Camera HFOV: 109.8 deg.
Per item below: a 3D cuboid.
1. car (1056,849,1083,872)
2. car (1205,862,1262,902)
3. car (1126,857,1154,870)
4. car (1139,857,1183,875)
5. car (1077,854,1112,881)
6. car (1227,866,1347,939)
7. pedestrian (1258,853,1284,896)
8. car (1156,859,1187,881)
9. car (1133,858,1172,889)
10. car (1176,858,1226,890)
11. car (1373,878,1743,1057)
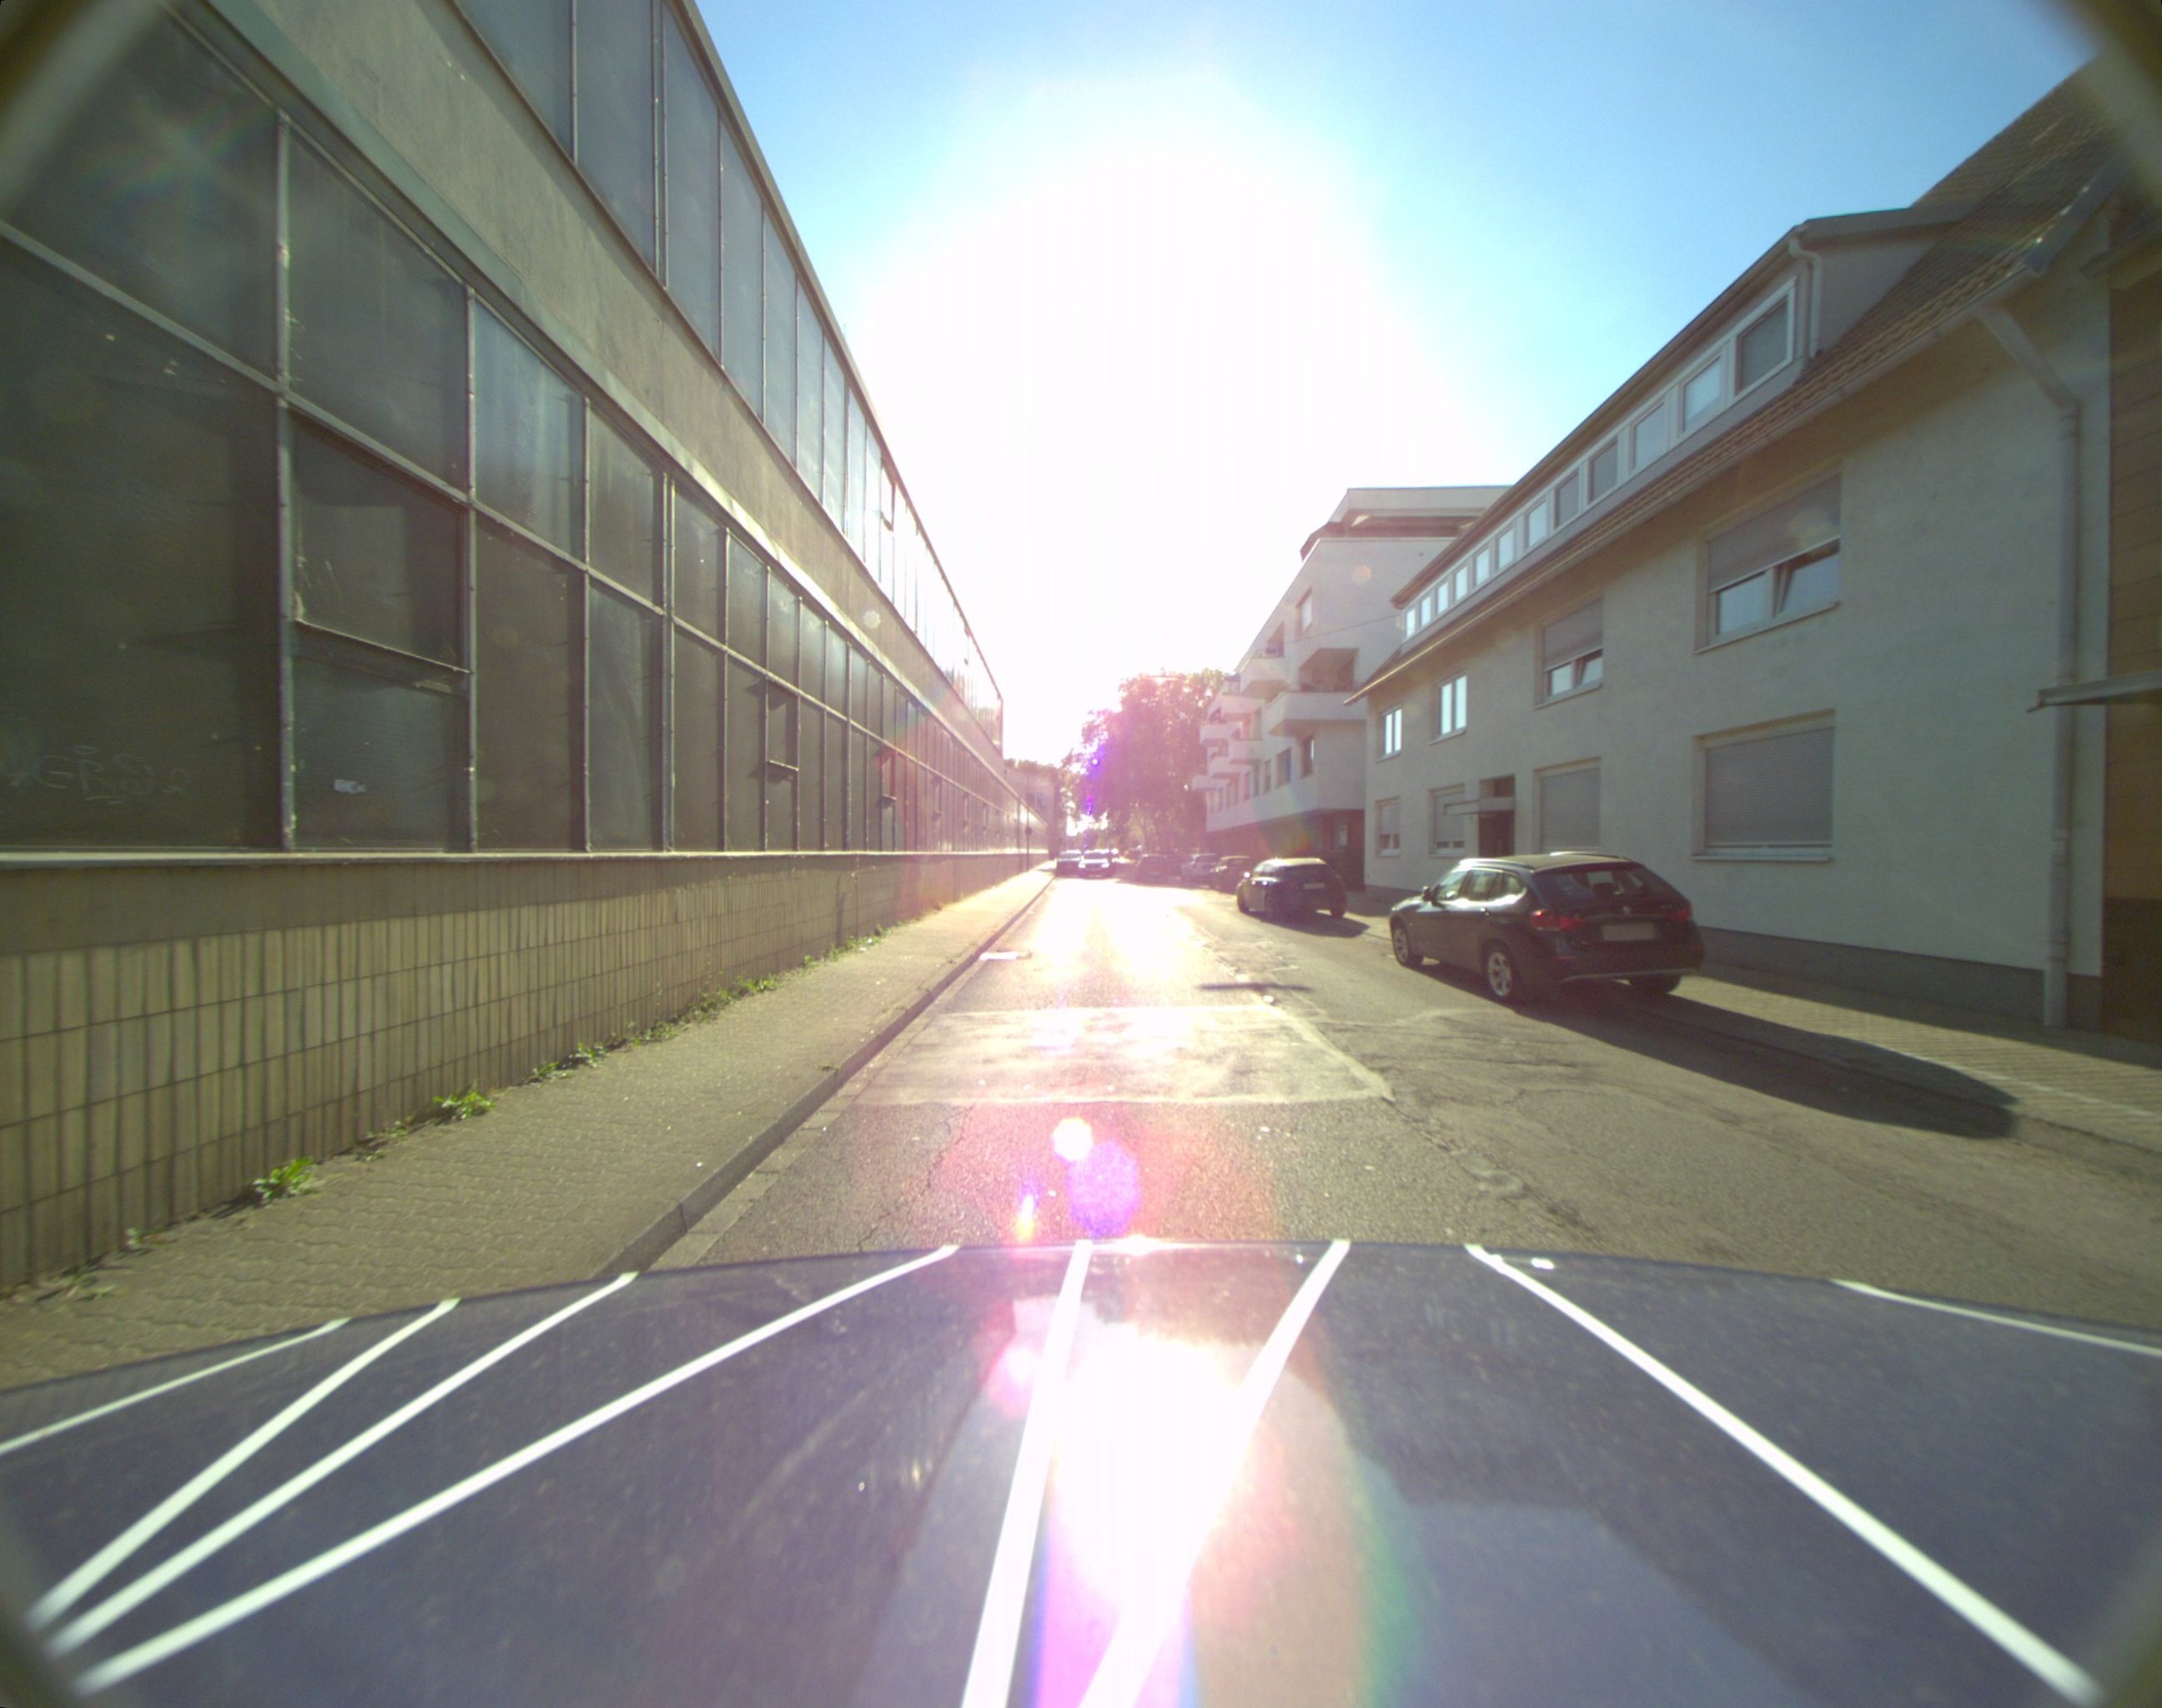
[{"bbox_3d":[-0.858,0.461,54.646,1.812,1.578,4.404,-1,1,-2],"label":"car"},{"bbox_3d":[6.445,1.141,32.523,1.672,1.527,3.856,-1,1,0],"label":"car"},{"bbox_3d":[9.183,1.440,118.054,4.006,1.875,1.713,0,1,-26],"label":"car"},{"bbox_3d":[7.678,1.113,72.870,3.966,1.652,1.696,0,1,-28],"label":"car"},{"bbox_3d":[0.791,0.786,45.895,1.855,1.527,3.856,-1,1,-3],"label":"car"},{"bbox_3d":[5.105,1.139,19.420,1.689,1.526,4.333,-1,1,-3],"label":"car"},{"bbox_3d":[8.396,0.895,33.558,0.862,1.808,1.134,-2,0,24],"label":"pedestrian"},{"bbox_3d":[6.346,1.089,53.627,1.679,1.425,3.770,-1,1,-1],"label":"car"},{"bbox_3d":[3.763,1.004,40.649,1.846,1.482,4.145,3,0,3],"label":"car"},{"bbox_3d":[6.568,1.076,42.065,1.863,1.578,4.620,-1,1,-3],"label":"car"},{"bbox_3d":[5.288,1.135,9.270,1.862,1.577,4.336,-1,-1,1],"label":"car"}]
